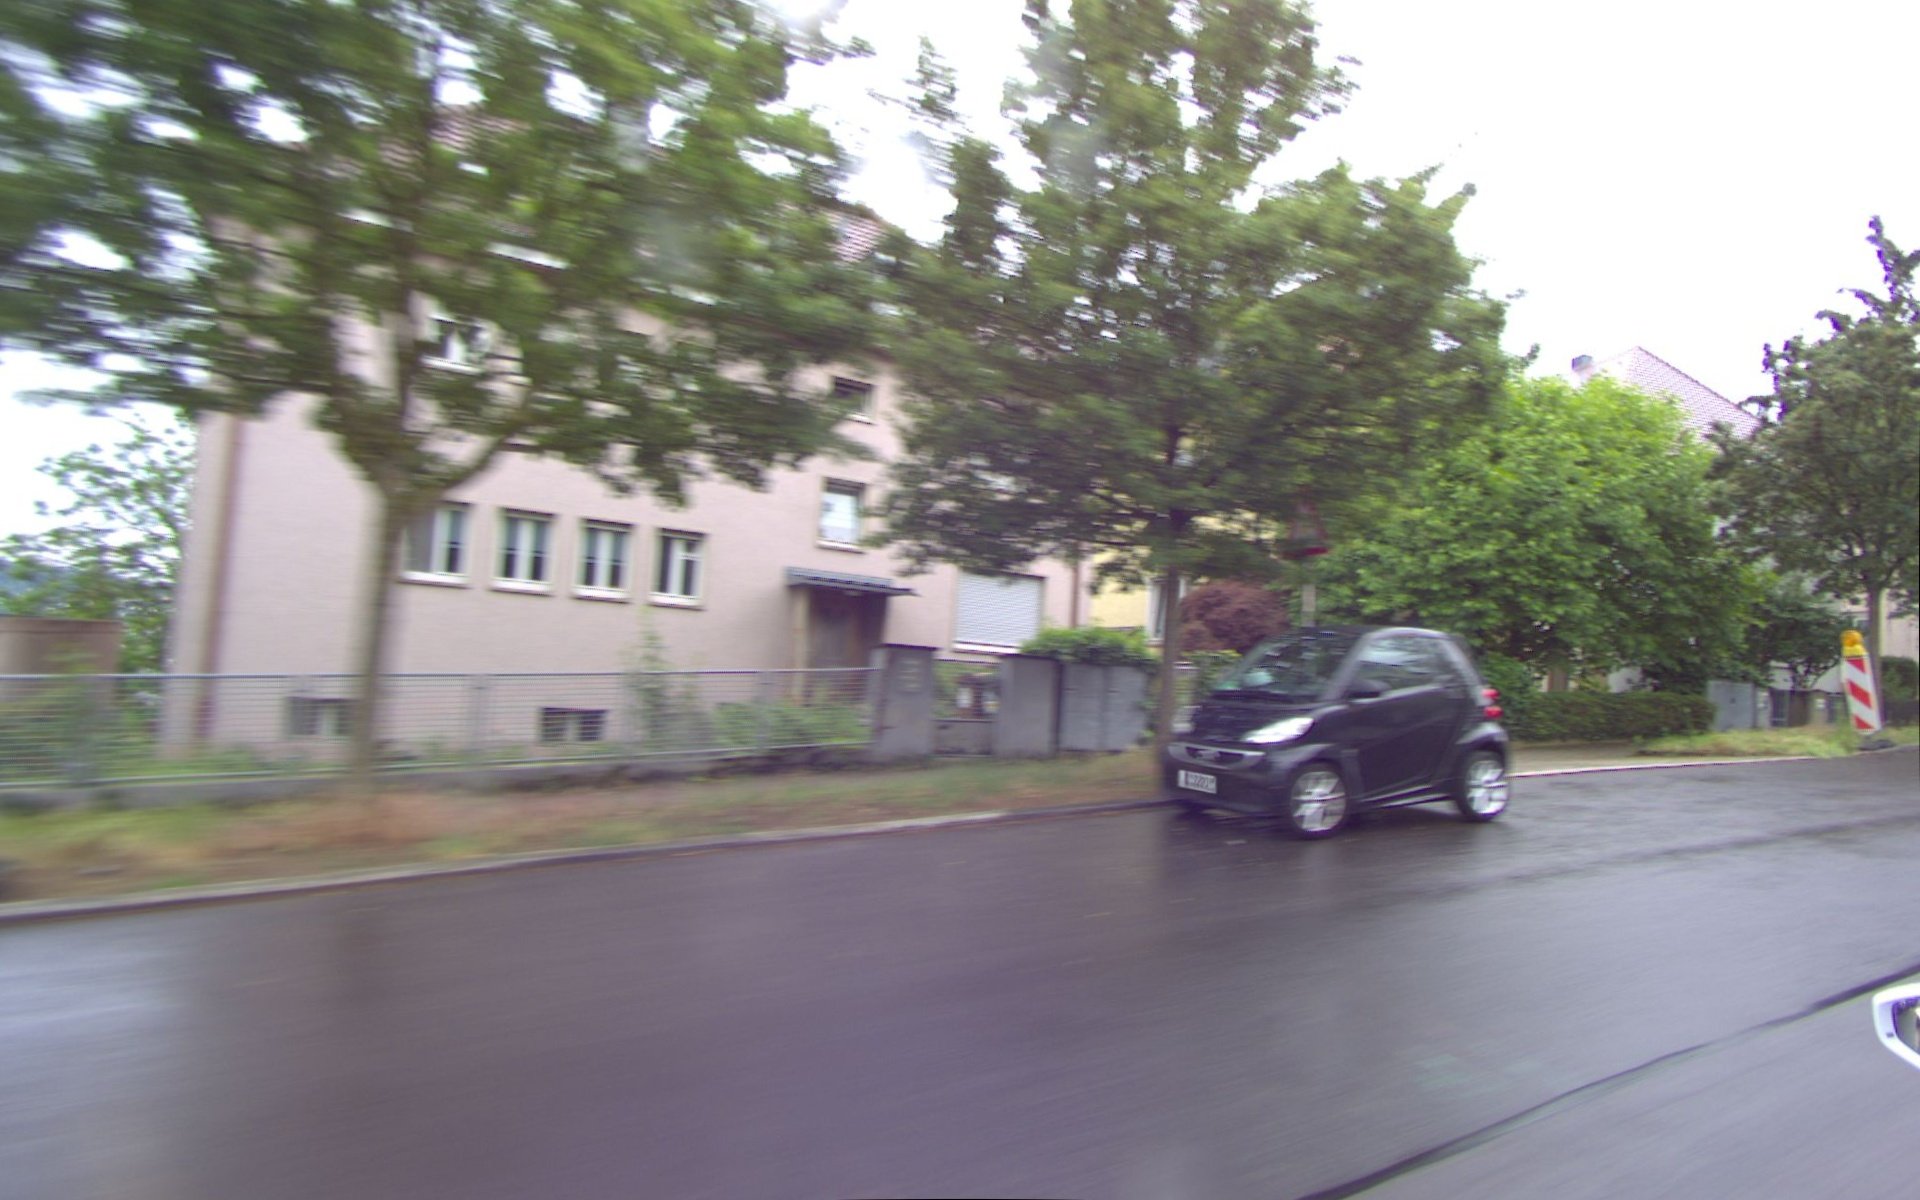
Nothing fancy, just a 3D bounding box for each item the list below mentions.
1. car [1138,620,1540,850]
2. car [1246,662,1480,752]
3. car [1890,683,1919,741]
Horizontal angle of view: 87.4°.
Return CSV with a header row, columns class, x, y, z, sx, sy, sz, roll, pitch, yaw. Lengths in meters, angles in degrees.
class,x,y,z,sx,sy,sz,roll,pitch,yaw
car,3.121,0.987,8.221,2.999,1.555,1.512,2,-2,-29
car,7.351,2.081,18.762,1.754,1.411,3.913,3,-10,-23
car,27.097,2.780,25.928,1.878,1.522,4.256,1,-11,-6
